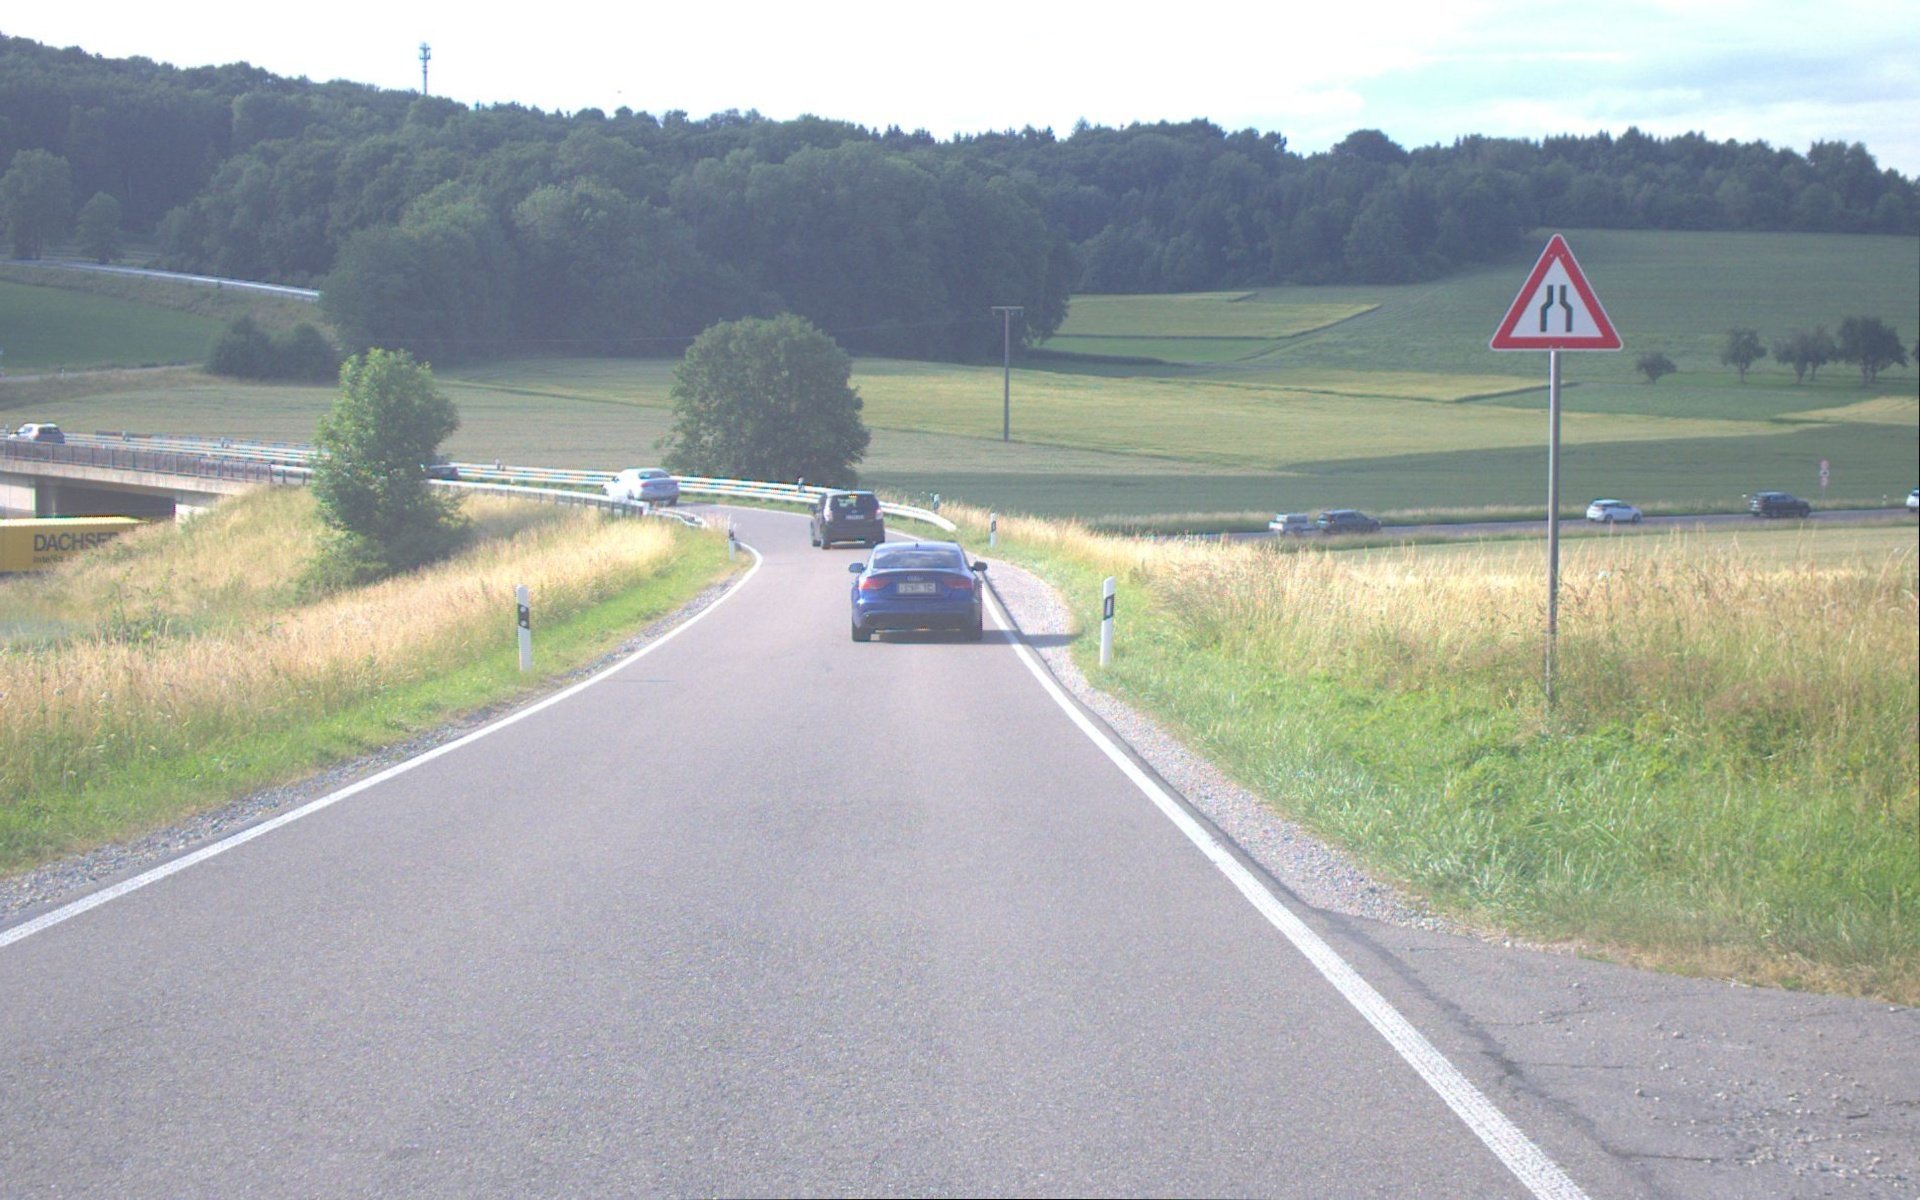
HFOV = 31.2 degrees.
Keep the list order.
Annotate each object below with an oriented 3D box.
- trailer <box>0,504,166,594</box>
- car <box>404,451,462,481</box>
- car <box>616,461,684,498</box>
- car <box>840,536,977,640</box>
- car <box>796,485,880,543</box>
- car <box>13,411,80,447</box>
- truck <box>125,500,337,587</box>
[{"bbox_3d":[-43.673,-2.518,167.089,9.104,4.045,3.836,-3,4,-42],"label":"trailer"},{"bbox_3d":[-23.332,-5.927,152.182,1.471,1.222,3.300,-2,4,-28],"label":"car"},{"bbox_3d":[-12.042,-4.663,133.415,1.682,1.371,4.001,-1,2,-20],"label":"car"},{"bbox_3d":[-0.721,-0.198,48.661,1.818,1.334,4.350,-2,1,-1],"label":"car"},{"bbox_3d":[-3.487,-2.449,97.701,1.861,1.563,4.001,-2,2,-9],"label":"car"},{"bbox_3d":[-49.478,-9.249,186.132,1.994,1.673,4.178,1,4,-38],"label":"car"},{"bbox_3d":[-36.675,-2.892,173.291,9.775,4.045,3.836,-3,4,-42],"label":"truck"}]
